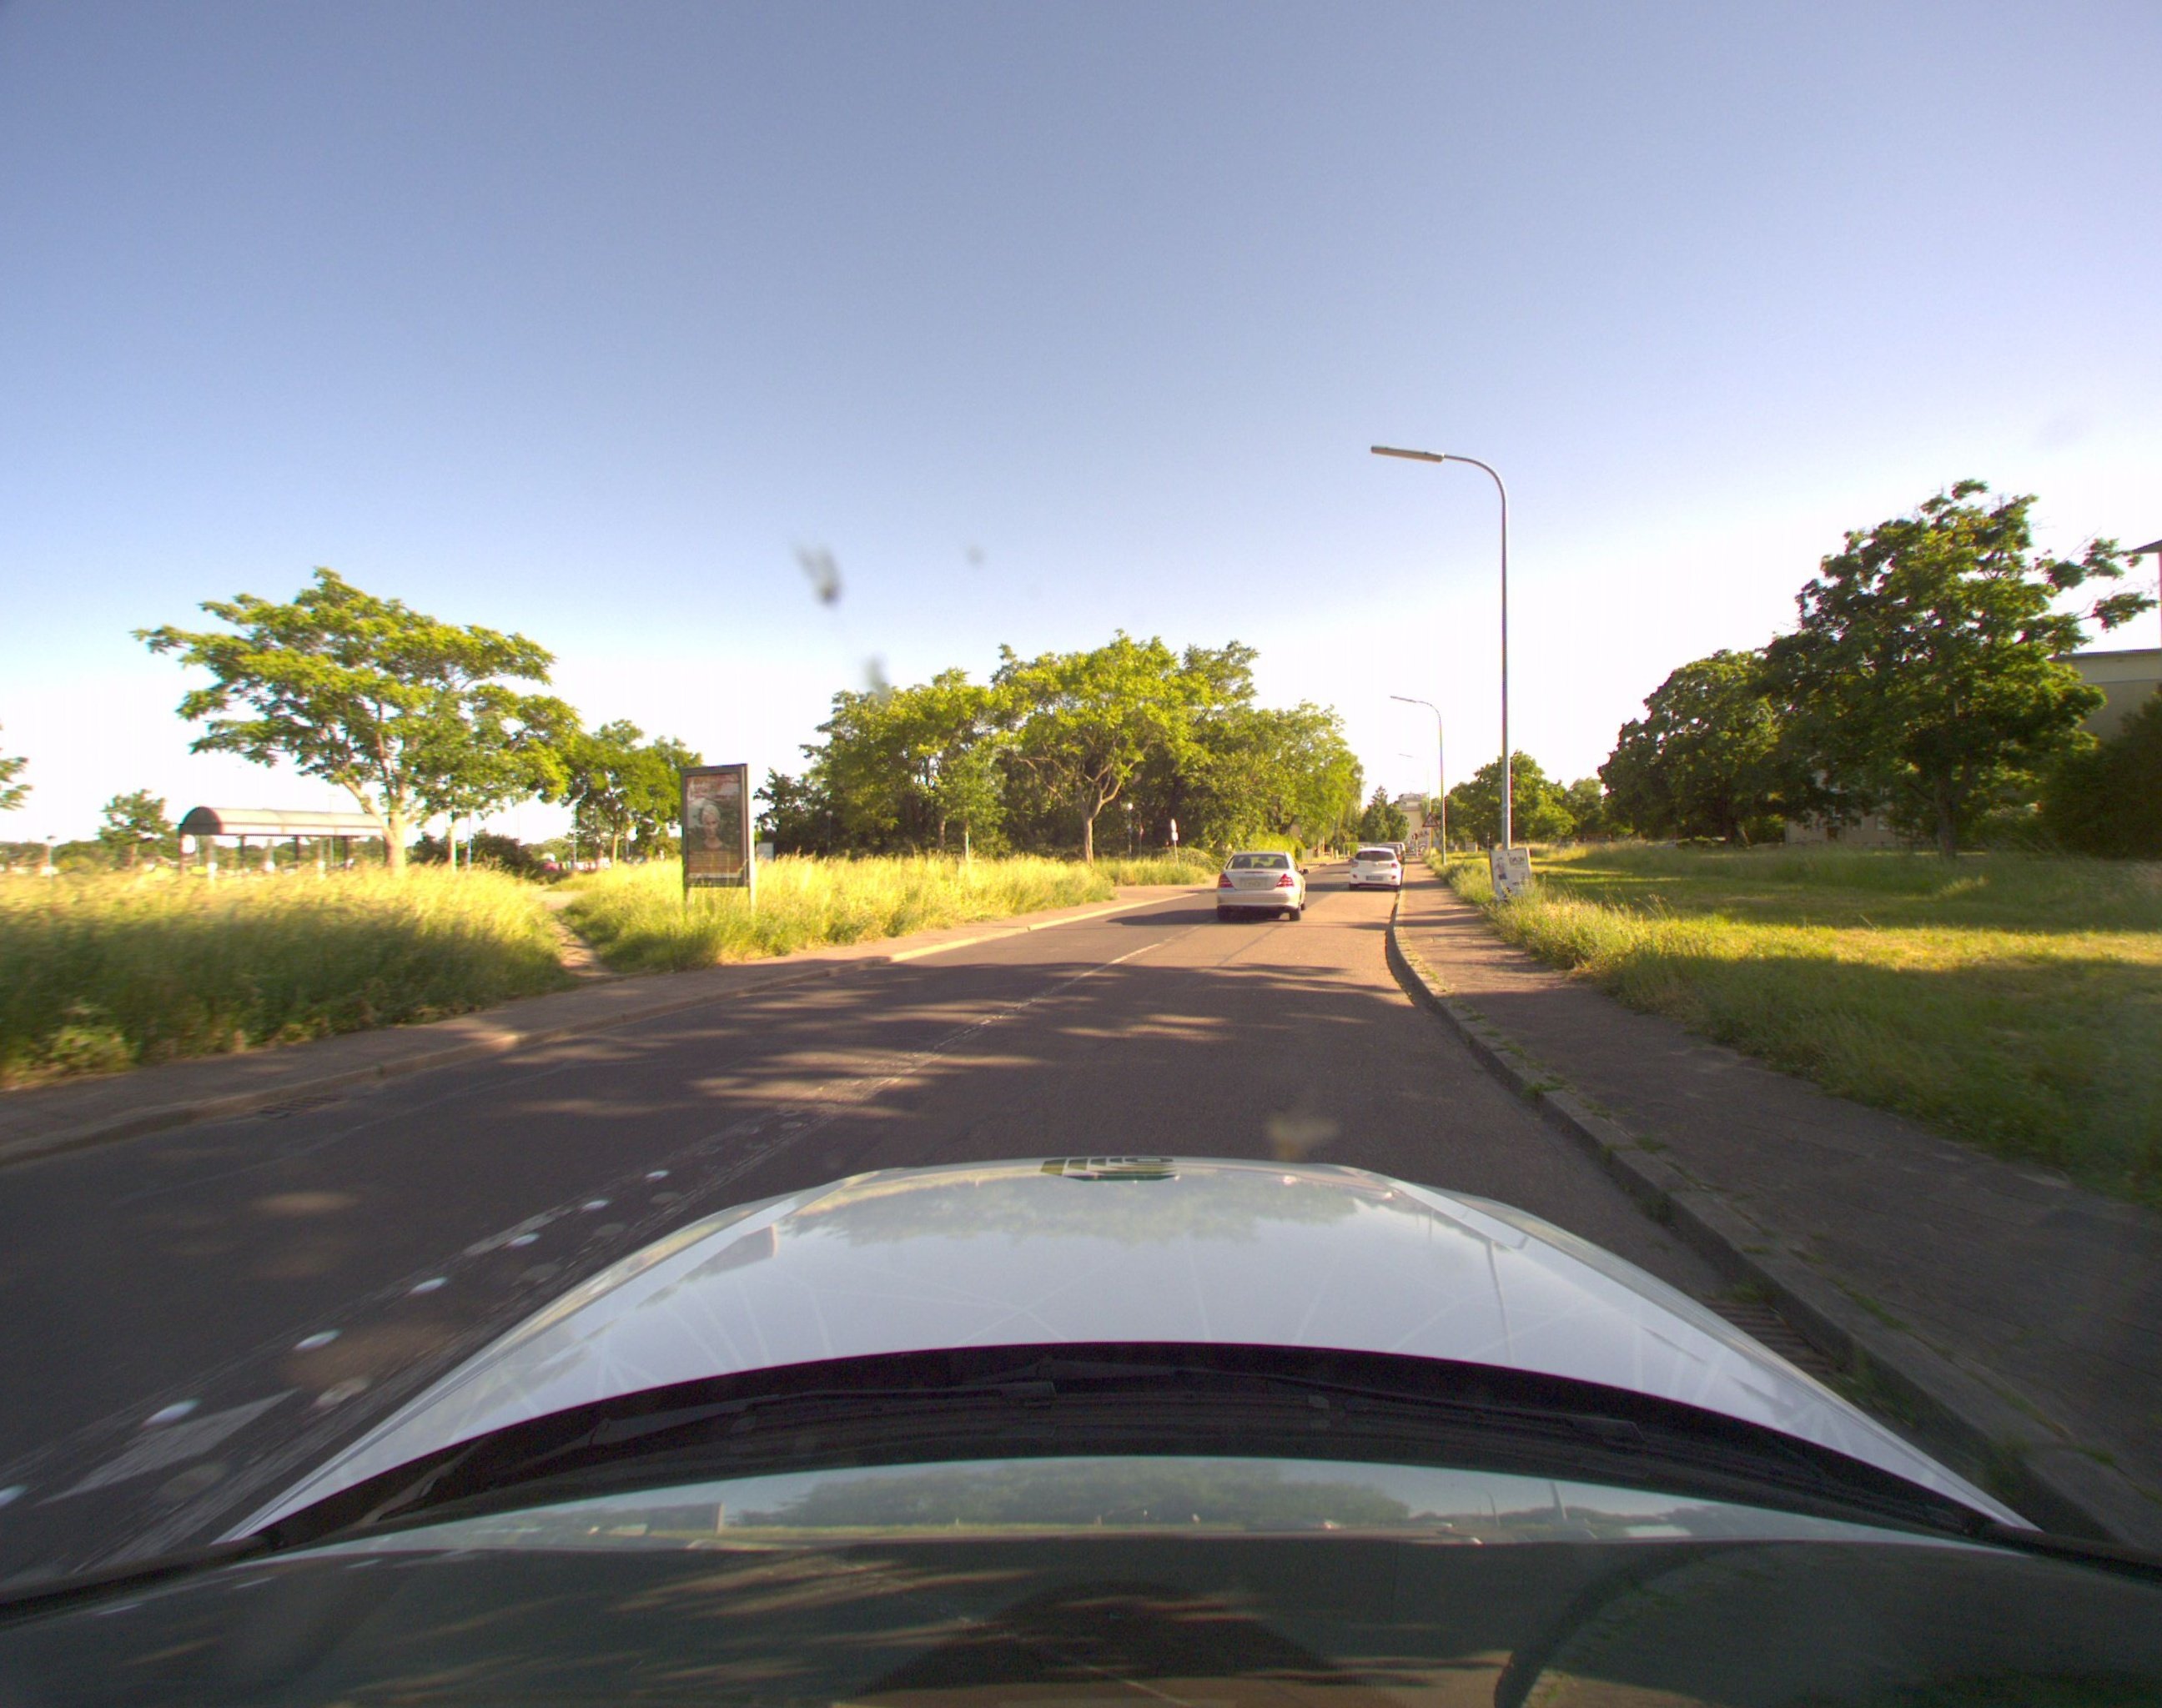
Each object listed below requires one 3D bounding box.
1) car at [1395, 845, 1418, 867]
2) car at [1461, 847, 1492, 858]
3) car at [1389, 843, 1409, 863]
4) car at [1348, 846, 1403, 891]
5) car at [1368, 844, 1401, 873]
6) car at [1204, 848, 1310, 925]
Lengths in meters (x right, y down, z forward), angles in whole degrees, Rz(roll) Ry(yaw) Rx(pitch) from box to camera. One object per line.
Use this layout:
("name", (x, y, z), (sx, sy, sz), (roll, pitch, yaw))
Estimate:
("car", (27.153, 0.128, 68.000), (1.684, 1.759, 3.871), (1, 1, 21))
("car", (57.057, -0.149, 117.555), (3.666, 1.441, 1.710), (-2, -3, 37))
("car", (30.270, -0.141, 77.604), (1.684, 1.851, 3.871), (1, 1, 21))
("car", (10.433, 0.481, 28.953), (1.708, 1.479, 3.758), (1, 0, 19))
("car", (17.772, 0.246, 47.717), (1.684, 1.610, 4.020), (-2, 0, 20))
("car", (3.975, 0.607, 17.873), (1.801, 1.463, 4.381), (0, 0, 18))
